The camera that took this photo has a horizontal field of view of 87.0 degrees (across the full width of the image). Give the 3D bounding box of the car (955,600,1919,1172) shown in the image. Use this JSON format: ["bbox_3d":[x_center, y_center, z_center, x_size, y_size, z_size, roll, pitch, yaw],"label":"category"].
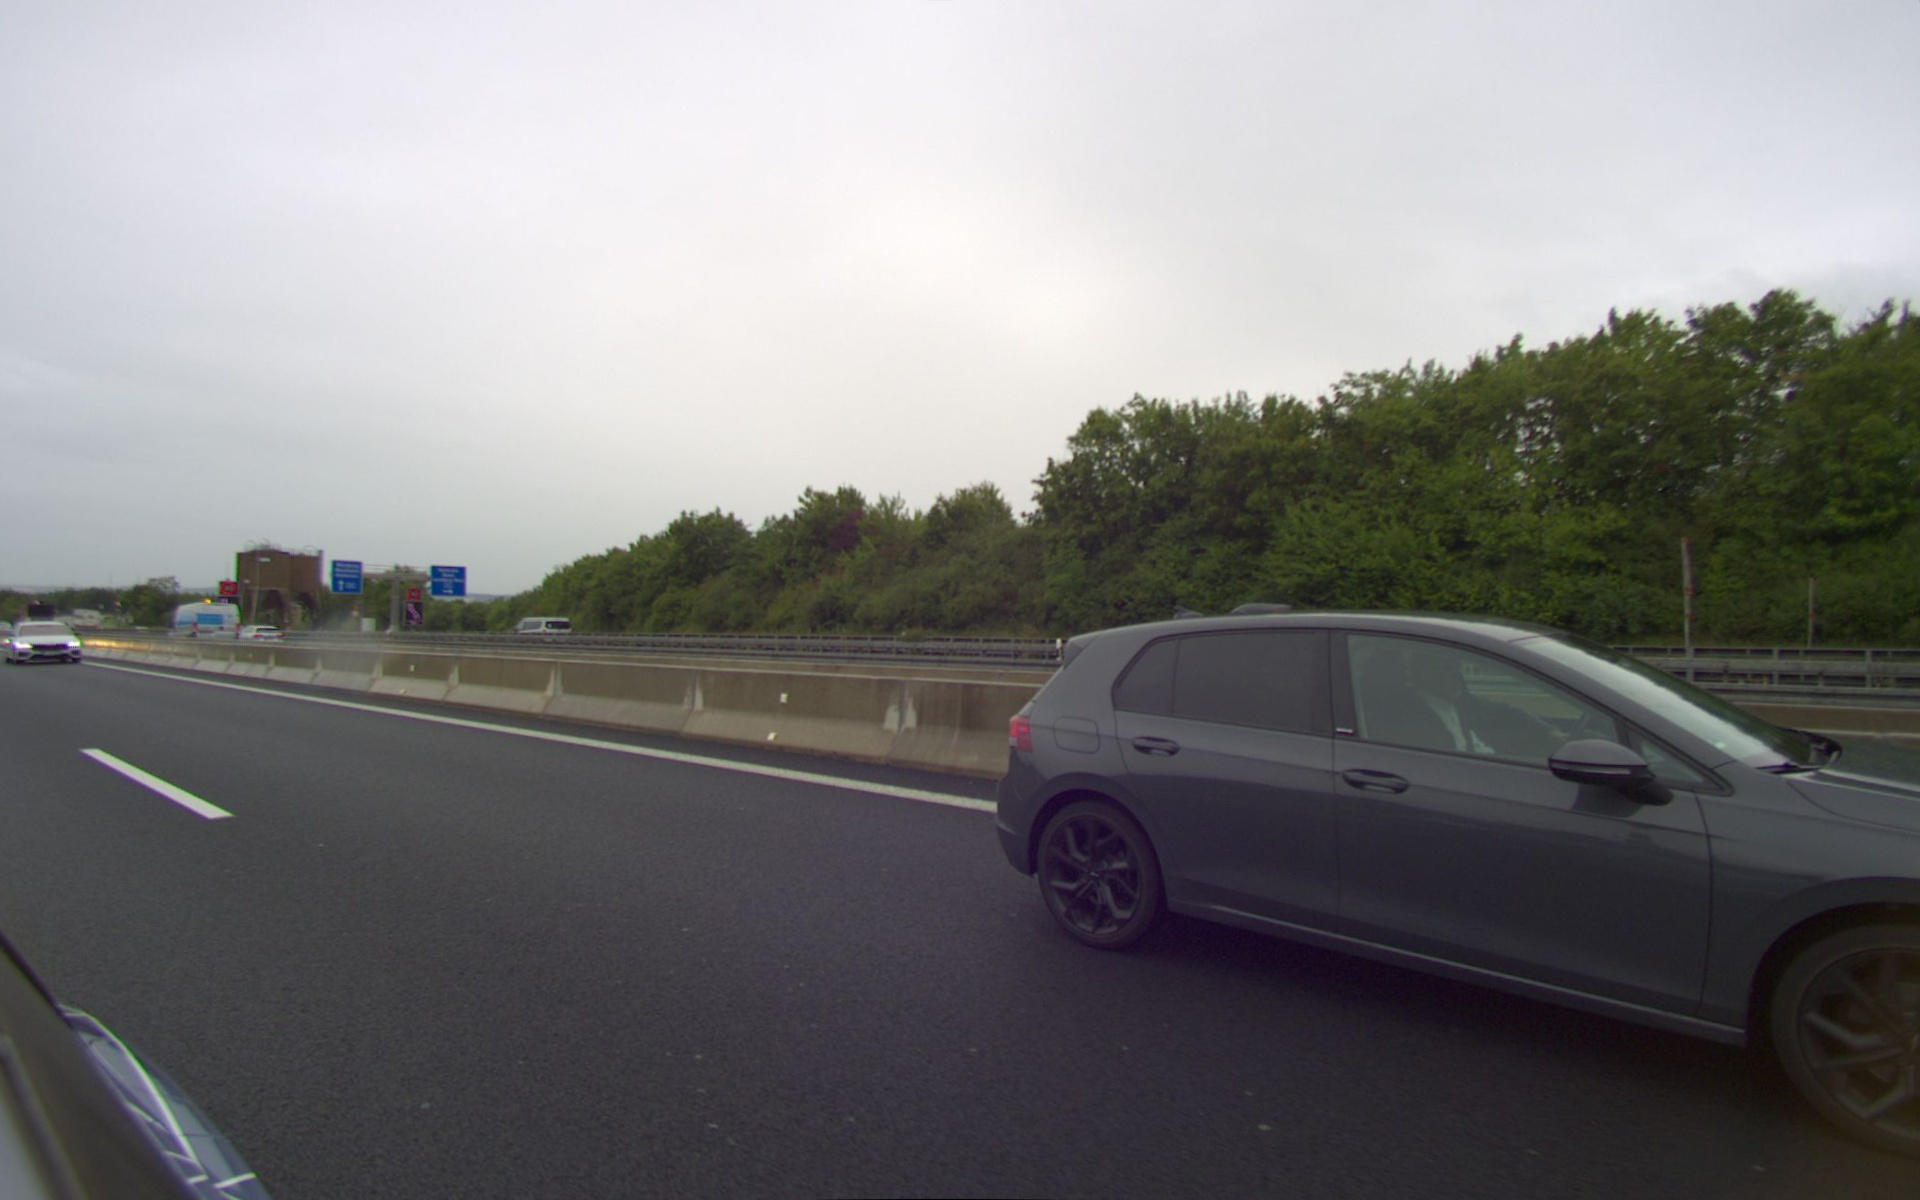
[{"bbox_3d":[2.197,0.738,3.972,4.367,1.436,1.811,-1,-1,42],"label":"car"}]

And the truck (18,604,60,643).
[{"bbox_3d":[-117.888,2.973,129.435,10.488,4.769,3.362,-2,-1,44],"label":"truck"}]

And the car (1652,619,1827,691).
[{"bbox_3d":[23.343,1.589,30.398,4.000,2.029,1.730,-1,-2,43],"label":"car"}]

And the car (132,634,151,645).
[{"bbox_3d":[-114.324,5.531,141.300,3.999,1.409,1.506,-1,-1,42],"label":"car"}]

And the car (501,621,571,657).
[{"bbox_3d":[-25.214,2.303,60.143,4.712,2.029,1.973,-1,-1,41],"label":"car"}]

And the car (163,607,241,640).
[{"bbox_3d":[-40.328,1.259,53.786,5.906,1.706,2.332,-2,-2,43],"label":"car"}]

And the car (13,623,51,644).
[{"bbox_3d":[-83.594,3.006,91.139,4.676,1.850,1.973,-2,0,41],"label":"car"}]

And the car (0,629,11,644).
[{"bbox_3d":[-114.030,4.324,119.762,4.959,1.779,2.133,-1,-1,42],"label":"car"}]

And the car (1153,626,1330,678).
[{"bbox_3d":[8.239,1.484,29.912,4.675,1.417,1.972,-2,-2,42],"label":"car"}]

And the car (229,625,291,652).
[{"bbox_3d":[-41.771,2.272,60.371,4.677,1.446,1.973,-2,0,42],"label":"car"}]

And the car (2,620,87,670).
[{"bbox_3d":[-32.447,1.536,35.818,4.818,1.603,1.971,-1,-1,44],"label":"car"}]
